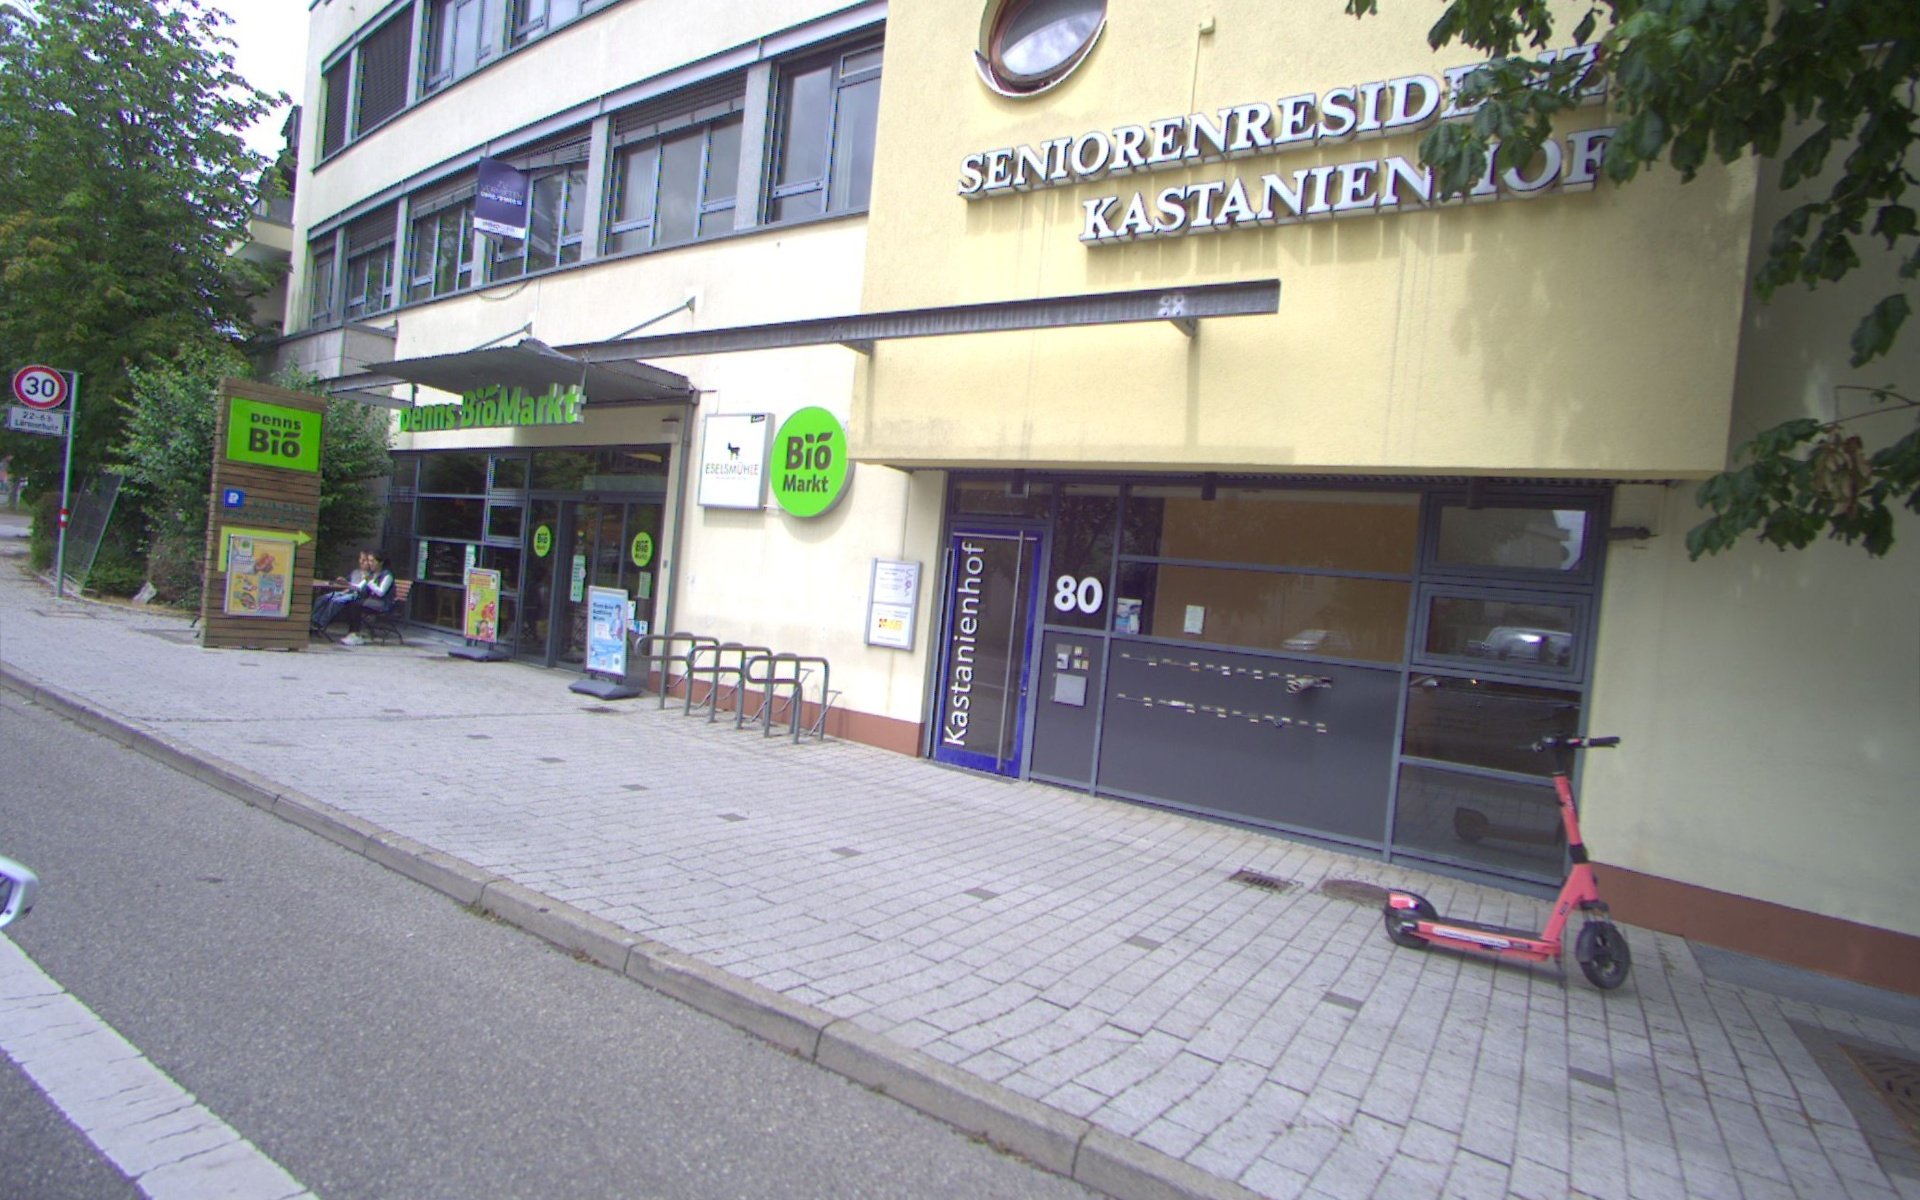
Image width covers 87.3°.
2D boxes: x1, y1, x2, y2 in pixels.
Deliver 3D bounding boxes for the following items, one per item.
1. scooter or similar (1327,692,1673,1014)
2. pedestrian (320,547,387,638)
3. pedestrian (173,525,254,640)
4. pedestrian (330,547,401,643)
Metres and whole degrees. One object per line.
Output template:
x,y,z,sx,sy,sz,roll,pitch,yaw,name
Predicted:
2.775,1.241,5.276,1.435,1.332,0.381,6,0,31,scooter or similar
-8.518,-0.101,14.145,0.492,1.196,0.522,6,0,24,pedestrian
-9.251,-0.216,12.464,0.685,1.333,0.572,6,0,-39,pedestrian
-7.987,-0.062,13.525,0.495,1.218,0.577,6,0,34,pedestrian
